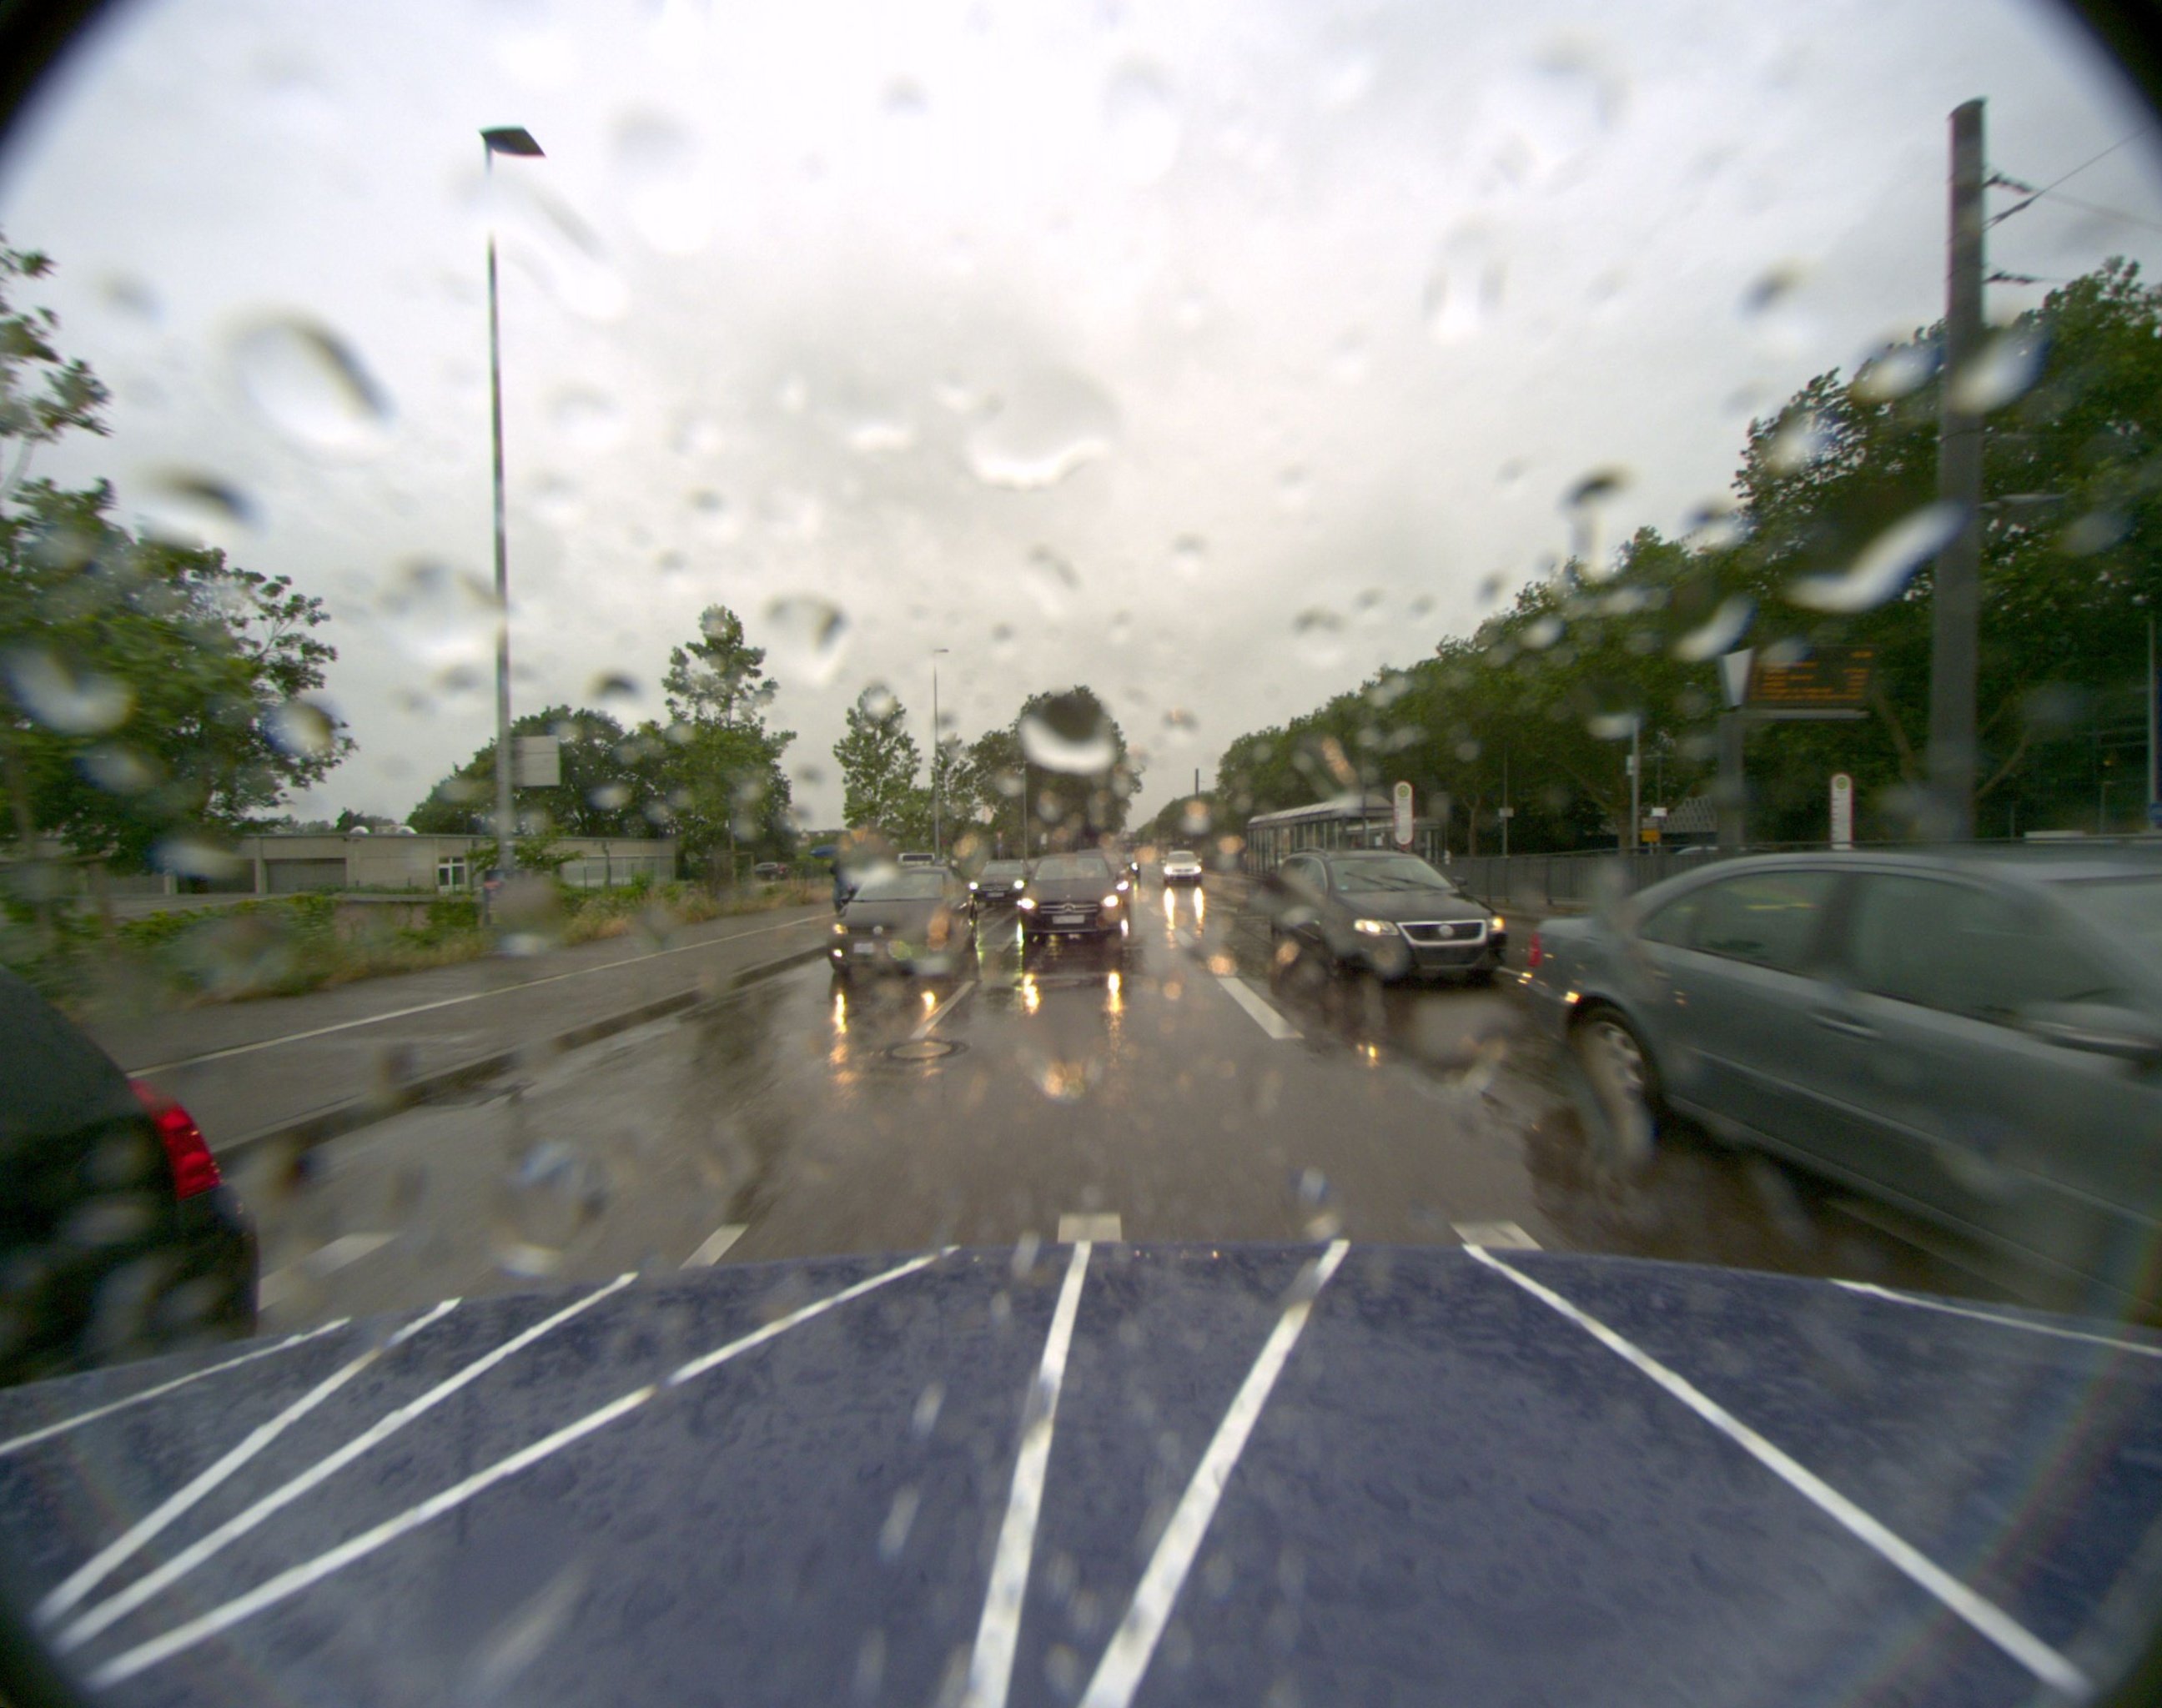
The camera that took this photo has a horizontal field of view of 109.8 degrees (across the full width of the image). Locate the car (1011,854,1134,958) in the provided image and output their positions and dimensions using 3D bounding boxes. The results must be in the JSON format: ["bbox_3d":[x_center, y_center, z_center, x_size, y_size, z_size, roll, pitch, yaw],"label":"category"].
[{"bbox_3d":[-0.145,0.853,14.009,1.876,1.573,4.043,-2,-1,0],"label":"car"}]

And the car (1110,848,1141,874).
[{"bbox_3d":[2.781,0.475,48.085,1.715,1.515,4.044,-2,-1,1],"label":"car"}]

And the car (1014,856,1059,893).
[{"bbox_3d":[-1.990,0.907,34.896,1.715,1.515,4.178,-2,-1,1],"label":"car"}]

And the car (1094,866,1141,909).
[{"bbox_3d":[1.397,1.289,30.465,1.715,1.515,4.044,-2,-1,1],"label":"car"}]

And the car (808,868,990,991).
[{"bbox_3d":[-2.542,0.997,11.635,1.715,1.476,4.044,-2,-1,1],"label":"car"}]

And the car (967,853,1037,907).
[{"bbox_3d":[-2.453,0.798,24.500,1.715,1.515,4.044,-2,-1,1],"label":"car"}]

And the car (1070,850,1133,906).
[{"bbox_3d":[0.611,0.698,23.397,1.715,1.515,4.044,-2,-1,1],"label":"car"}]

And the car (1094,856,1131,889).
[{"bbox_3d":[1.560,0.942,38.839,1.715,1.515,4.044,-2,-1,1],"label":"car"}]

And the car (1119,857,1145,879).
[{"bbox_3d":[3.868,1.054,57.859,1.715,1.515,4.044,-2,-1,1],"label":"car"}]

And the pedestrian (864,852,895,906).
[{"bbox_3d":[-6.064,0.732,22.895,0.734,1.602,0.650,0,1,1],"label":"pedestrian"}]

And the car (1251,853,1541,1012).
[{"bbox_3d":[3.568,0.762,9.689,1.752,1.466,4.697,-2,0,1],"label":"car"}]

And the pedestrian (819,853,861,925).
[{"bbox_3d":[-5.428,0.772,17.125,0.734,1.602,0.618,0,1,1],"label":"pedestrian"}]

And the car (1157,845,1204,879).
[{"bbox_3d":[4.746,0.395,36.632,1.715,1.515,4.044,-2,-1,1],"label":"car"}]

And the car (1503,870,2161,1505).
[{"bbox_3d":[3.457,0.836,2.381,1.715,1.405,4.697,-2,0,1],"label":"car"}]

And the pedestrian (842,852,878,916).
[{"bbox_3d":[-5.585,0.755,19.257,0.734,1.602,0.576,0,1,1],"label":"pedestrian"}]

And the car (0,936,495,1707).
[{"bbox_3d":[-2.885,0.998,0.453,1.776,1.453,4.093,-2,-1,2],"label":"car"}]
